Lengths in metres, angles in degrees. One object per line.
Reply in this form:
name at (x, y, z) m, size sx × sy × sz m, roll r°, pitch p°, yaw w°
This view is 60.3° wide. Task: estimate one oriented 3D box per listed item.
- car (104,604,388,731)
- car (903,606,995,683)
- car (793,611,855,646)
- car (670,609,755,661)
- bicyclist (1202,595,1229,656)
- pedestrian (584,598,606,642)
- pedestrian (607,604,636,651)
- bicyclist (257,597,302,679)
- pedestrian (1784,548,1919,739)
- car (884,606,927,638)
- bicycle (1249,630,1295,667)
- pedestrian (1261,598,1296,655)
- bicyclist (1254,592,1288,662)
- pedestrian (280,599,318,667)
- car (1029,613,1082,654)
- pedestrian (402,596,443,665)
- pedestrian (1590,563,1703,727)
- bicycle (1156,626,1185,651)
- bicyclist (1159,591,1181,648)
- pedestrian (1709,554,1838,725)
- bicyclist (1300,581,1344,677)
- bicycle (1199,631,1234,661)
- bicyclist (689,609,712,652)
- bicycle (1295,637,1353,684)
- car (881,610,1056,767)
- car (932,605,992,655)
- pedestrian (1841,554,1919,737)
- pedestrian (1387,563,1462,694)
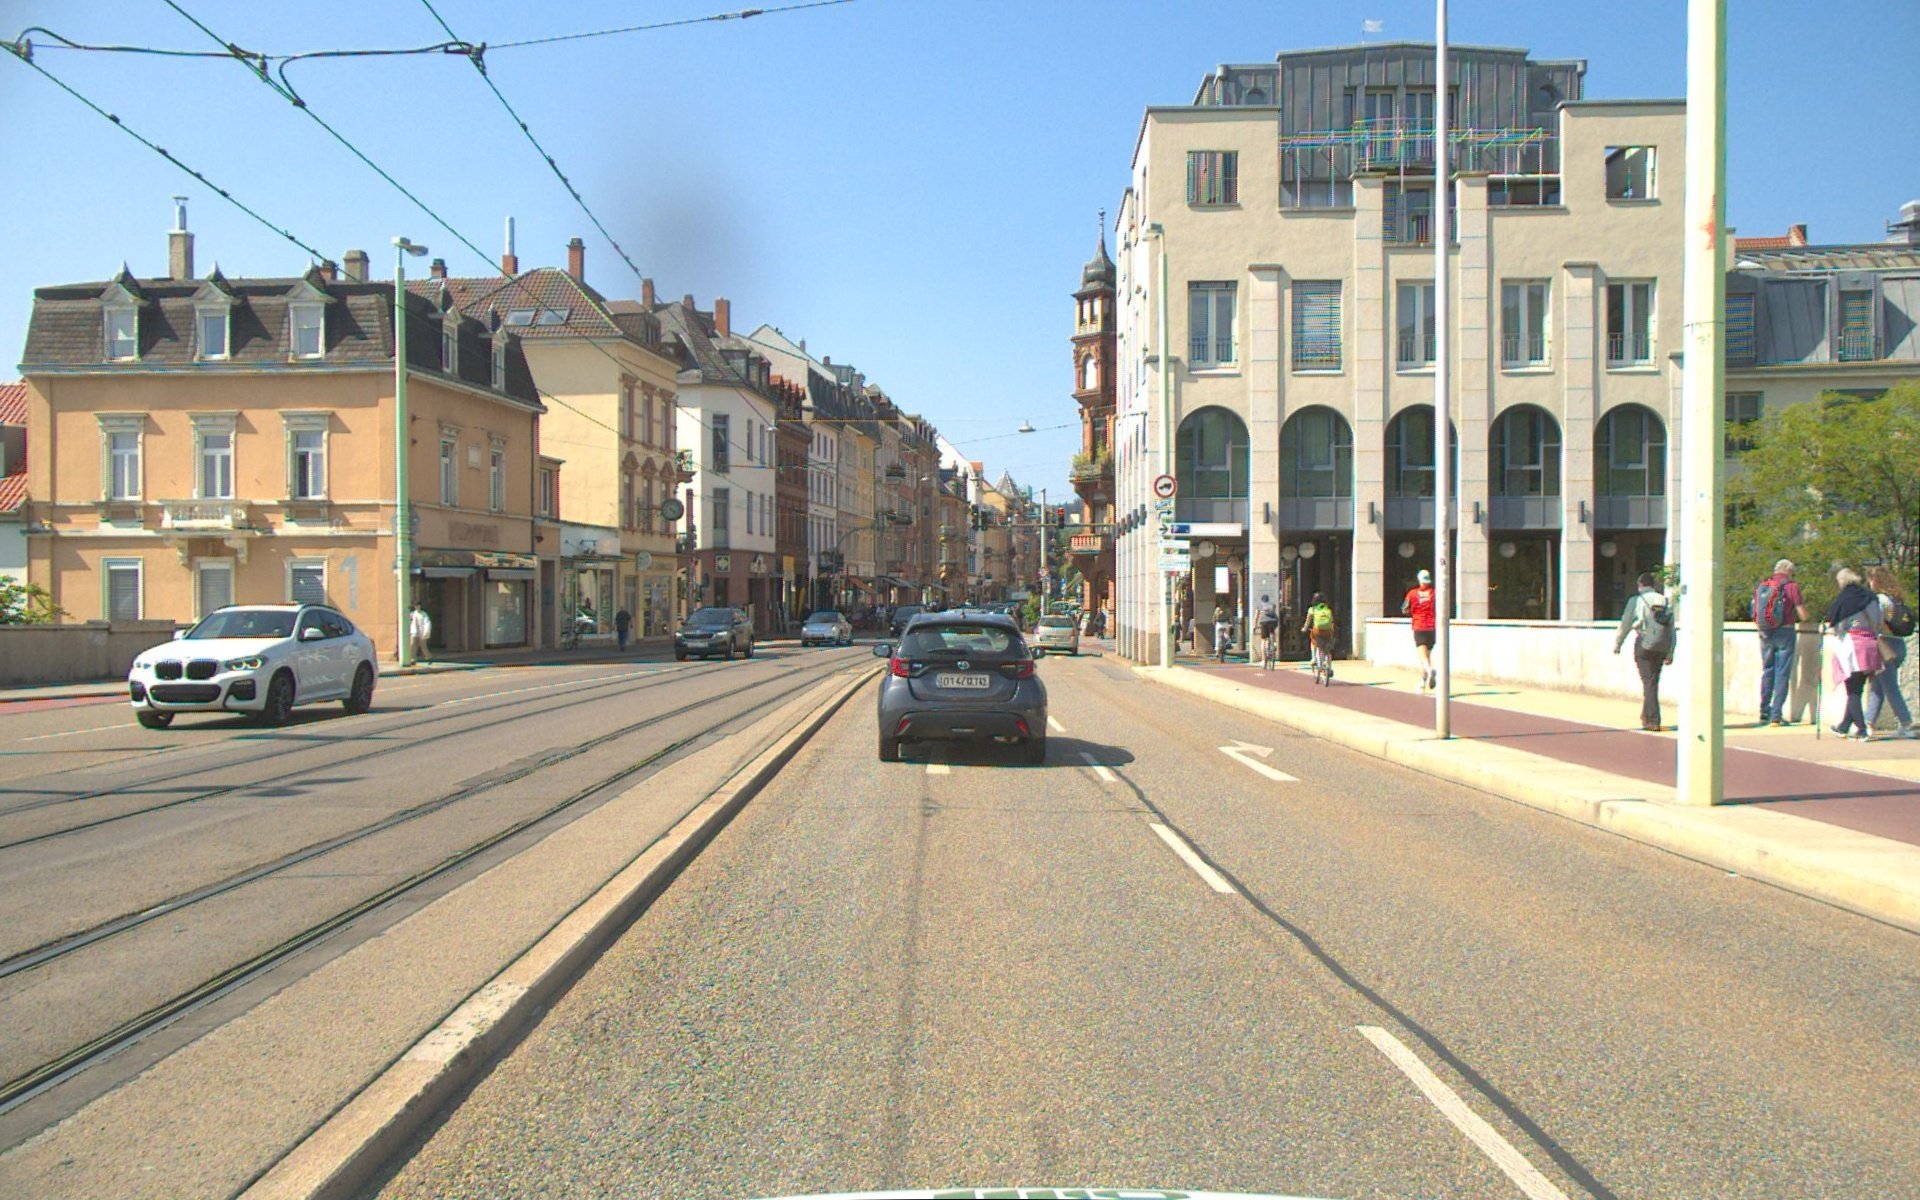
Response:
car at (-9.956, 0.882, 23.530) m, size 1.952 × 1.614 × 4.652 m, roll 0°, pitch -1°, yaw 1°
car at (-0.264, 0.932, 36.147) m, size 1.859 × 1.557 × 3.999 m, roll 1°, pitch 0°, yaw -1°
car at (-5.893, 1.249, 72.099) m, size 1.951 × 1.457 × 4.002 m, roll 1°, pitch -1°, yaw 6°
car at (-7.723, 1.065, 51.983) m, size 1.756 × 1.572 × 3.923 m, roll 0°, pitch -1°, yaw 5°
bicyclist at (7.113, 0.711, 46.050) m, size 0.575 × 1.679 × 0.701 m, roll -1°, pitch -1°, yaw -3°
pedestrian at (-14.101, 0.777, 63.946) m, size 0.636 × 1.629 × 0.566 m, roll 4°, pitch 1°, yaw -1°
pedestrian at (-12.544, 1.023, 61.331) m, size 0.746 × 1.682 × 0.712 m, roll 4°, pitch -1°, yaw 8°
bicyclist at (-14.145, 0.783, 34.386) m, size 0.614 × 1.679 × 0.622 m, roll 2°, pitch 0°, yaw 8°
pedestrian at (8.835, 0.418, 16.407) m, size 0.724 × 1.808 × 1.015 m, roll -2°, pitch 0°, yaw -4°
car at (-3.073, 1.259, 94.226) m, size 1.951 × 1.804 × 4.002 m, roll 0°, pitch -1°, yaw 6°
bicycle at (7.118, 1.104, 37.805) m, size 0.582 × 0.779 × 1.830 m, roll -1°, pitch 0°, yaw -3°
pedestrian at (9.578, 0.790, 49.725) m, size 0.724 × 1.643 × 1.015 m, roll 4°, pitch -1°, yaw -1°
bicyclist at (7.107, 0.615, 37.850) m, size 0.575 × 1.586 × 0.701 m, roll -1°, pitch -1°, yaw -3°
pedestrian at (-16.427, 0.808, 41.099) m, size 0.636 × 1.629 × 0.566 m, roll 4°, pitch 1°, yaw -1°
car at (3.588, 1.246, 62.766) m, size 1.671 × 1.491 × 4.324 m, roll 0°, pitch 0°, yaw -1°
pedestrian at (-14.590, 0.830, 44.891) m, size 0.721 × 1.797 × 0.787 m, roll 4°, pitch -1°, yaw -1°
pedestrian at (7.620, 0.490, 18.404) m, size 0.739 × 1.748 × 1.073 m, roll -2°, pitch 0°, yaw -1°
bicycle at (6.991, 1.281, 54.995) m, size 0.582 × 0.779 × 1.865 m, roll -1°, pitch 0°, yaw -3°
bicyclist at (6.976, 0.652, 55.003) m, size 0.575 × 1.852 × 0.701 m, roll -1°, pitch -1°, yaw -3°
pedestrian at (9.011, 0.429, 18.349) m, size 0.992 × 1.834 × 0.741 m, roll -2°, pitch -1°, yaw -3°
bicyclist at (6.498, 0.517, 29.704) m, size 0.592 × 1.679 × 0.702 m, roll -1°, pitch -1°, yaw 0°
bicycle at (7.124, 1.263, 46.042) m, size 0.582 × 0.779 × 1.865 m, roll -1°, pitch 0°, yaw -3°
bicyclist at (-10.316, 1.193, 65.765) m, size 0.690 × 1.679 × 0.622 m, roll 2°, pitch 0°, yaw 8°
bicycle at (6.522, 1.067, 29.708) m, size 0.581 × 0.779 × 1.866 m, roll -1°, pitch 0°, yaw -1°
car at (0.044, 0.872, 17.954) m, size 1.685 × 1.499 × 3.657 m, roll 1°, pitch 0°, yaw -1°
car at (0.043, 0.964, 54.376) m, size 1.859 × 1.557 × 3.999 m, roll 1°, pitch 0°, yaw -1°
pedestrian at (9.573, 0.437, 16.682) m, size 0.725 × 1.777 × 1.015 m, roll -2°, pitch 0°, yaw -5°
pedestrian at (7.201, 0.436, 25.695) m, size 0.794 × 1.958 × 1.127 m, roll -1°, pitch -1°, yaw -1°
